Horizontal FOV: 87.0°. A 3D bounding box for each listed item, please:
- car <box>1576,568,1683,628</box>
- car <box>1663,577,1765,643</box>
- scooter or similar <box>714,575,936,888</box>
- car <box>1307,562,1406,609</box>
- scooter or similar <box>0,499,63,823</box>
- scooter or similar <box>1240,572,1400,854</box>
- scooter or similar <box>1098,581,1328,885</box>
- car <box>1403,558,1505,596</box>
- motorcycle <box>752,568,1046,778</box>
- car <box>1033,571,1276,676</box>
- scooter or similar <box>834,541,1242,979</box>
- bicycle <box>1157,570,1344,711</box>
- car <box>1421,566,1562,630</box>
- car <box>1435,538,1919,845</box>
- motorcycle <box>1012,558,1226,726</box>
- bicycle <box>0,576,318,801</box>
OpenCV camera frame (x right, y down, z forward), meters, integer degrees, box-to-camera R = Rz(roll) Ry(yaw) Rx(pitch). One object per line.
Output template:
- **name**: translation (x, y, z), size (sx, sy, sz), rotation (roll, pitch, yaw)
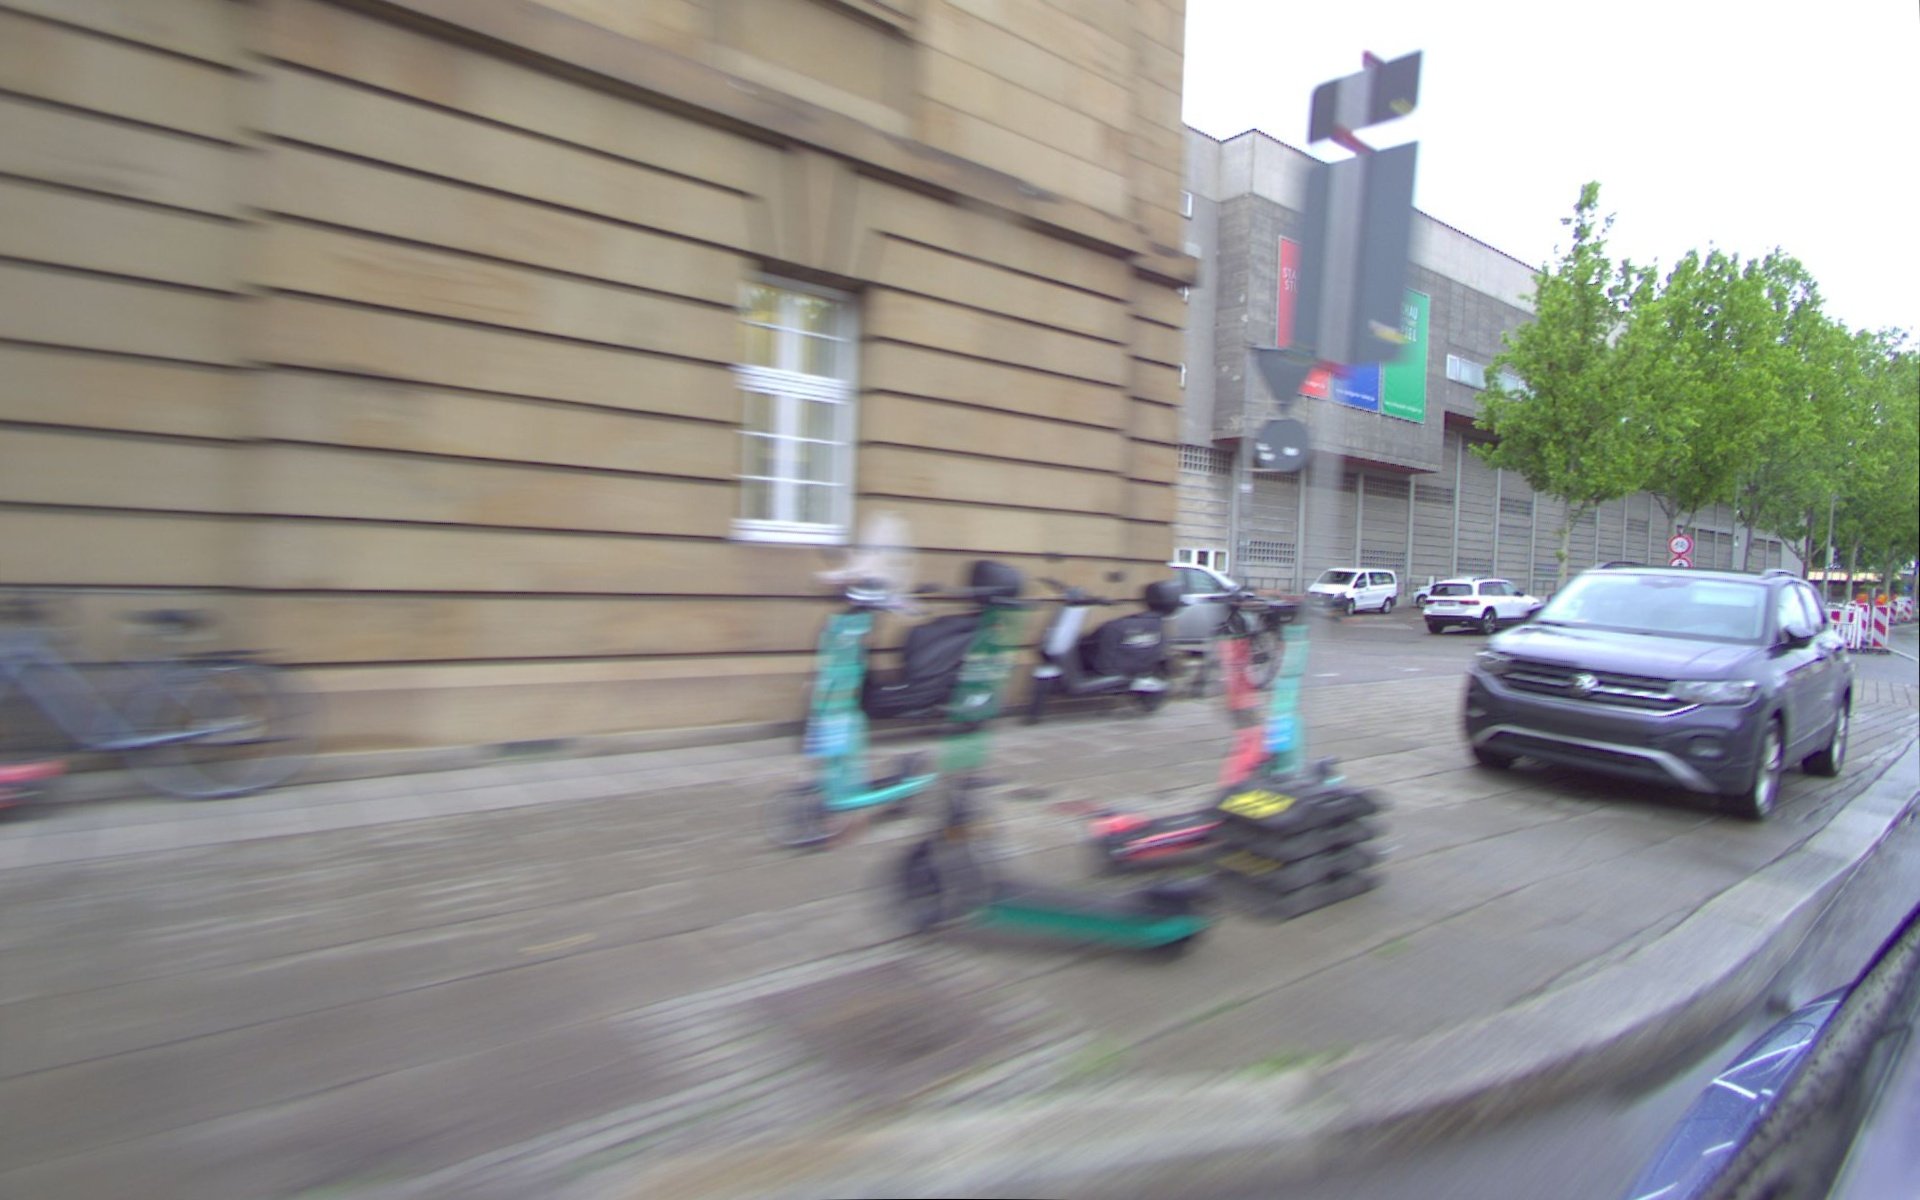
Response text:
- **car**: translation (19.068, -0.088, 28.814), size (2.965, 1.556, 1.586), rotation (-1, 3, -37)
- **car**: translation (19.394, 0.192, 25.986), size (1.687, 1.513, 3.565), rotation (2, 3, 43)
- **scooter or similar**: translation (-0.603, 0.535, 4.895), size (0.431, 1.309, 1.246), rotation (1, 2, 27)
- **car**: translation (16.567, -0.618, 42.171), size (4.800, 1.809, 1.776), rotation (-1, 4, -42)
- **scooter or similar**: translation (-4.745, 0.267, 4.375), size (1.244, 1.435, 0.414), rotation (0, 2, -35)
- **scooter or similar**: translation (1.924, 0.532, 5.355), size (0.433, 1.336, 1.062), rotation (2, 1, 40)
- **scooter or similar**: translation (1.194, 0.542, 4.693), size (1.103, 1.231, 0.434), rotation (-1, 4, -42)
- **car**: translation (22.838, -1.090, 46.871), size (1.747, 1.598, 3.848), rotation (0, 4, -39)
- **motorcycle**: translation (-0.397, 0.454, 7.369), size (2.094, 1.342, 0.669), rotation (0, 2, -35)
- **car**: translation (3.144, 0.288, 15.947), size (4.054, 1.428, 1.524), rotation (-1, 3, -40)
- **scooter or similar**: translation (0.258, 0.499, 3.514), size (1.308, 1.385, 0.434), rotation (1, 1, 7)
- **bicycle**: translation (3.085, 0.364, 10.693), size (1.827, 1.333, 1.103), rotation (-1, 2, -43)
- **car**: translation (16.412, -0.018, 31.219), size (4.404, 1.705, 1.962), rotation (3, -2, -33)
- **car**: translation (5.525, 0.456, 7.550), size (4.326, 1.639, 1.876), rotation (0, 3, -40)
- **motorcycle**: translation (1.398, 0.309, 8.785), size (1.765, 1.314, 0.809), rotation (0, 2, -35)
- **bicycle**: translation (-4.314, 0.415, 5.147), size (1.735, 1.062, 0.420), rotation (0, 1, -26)
